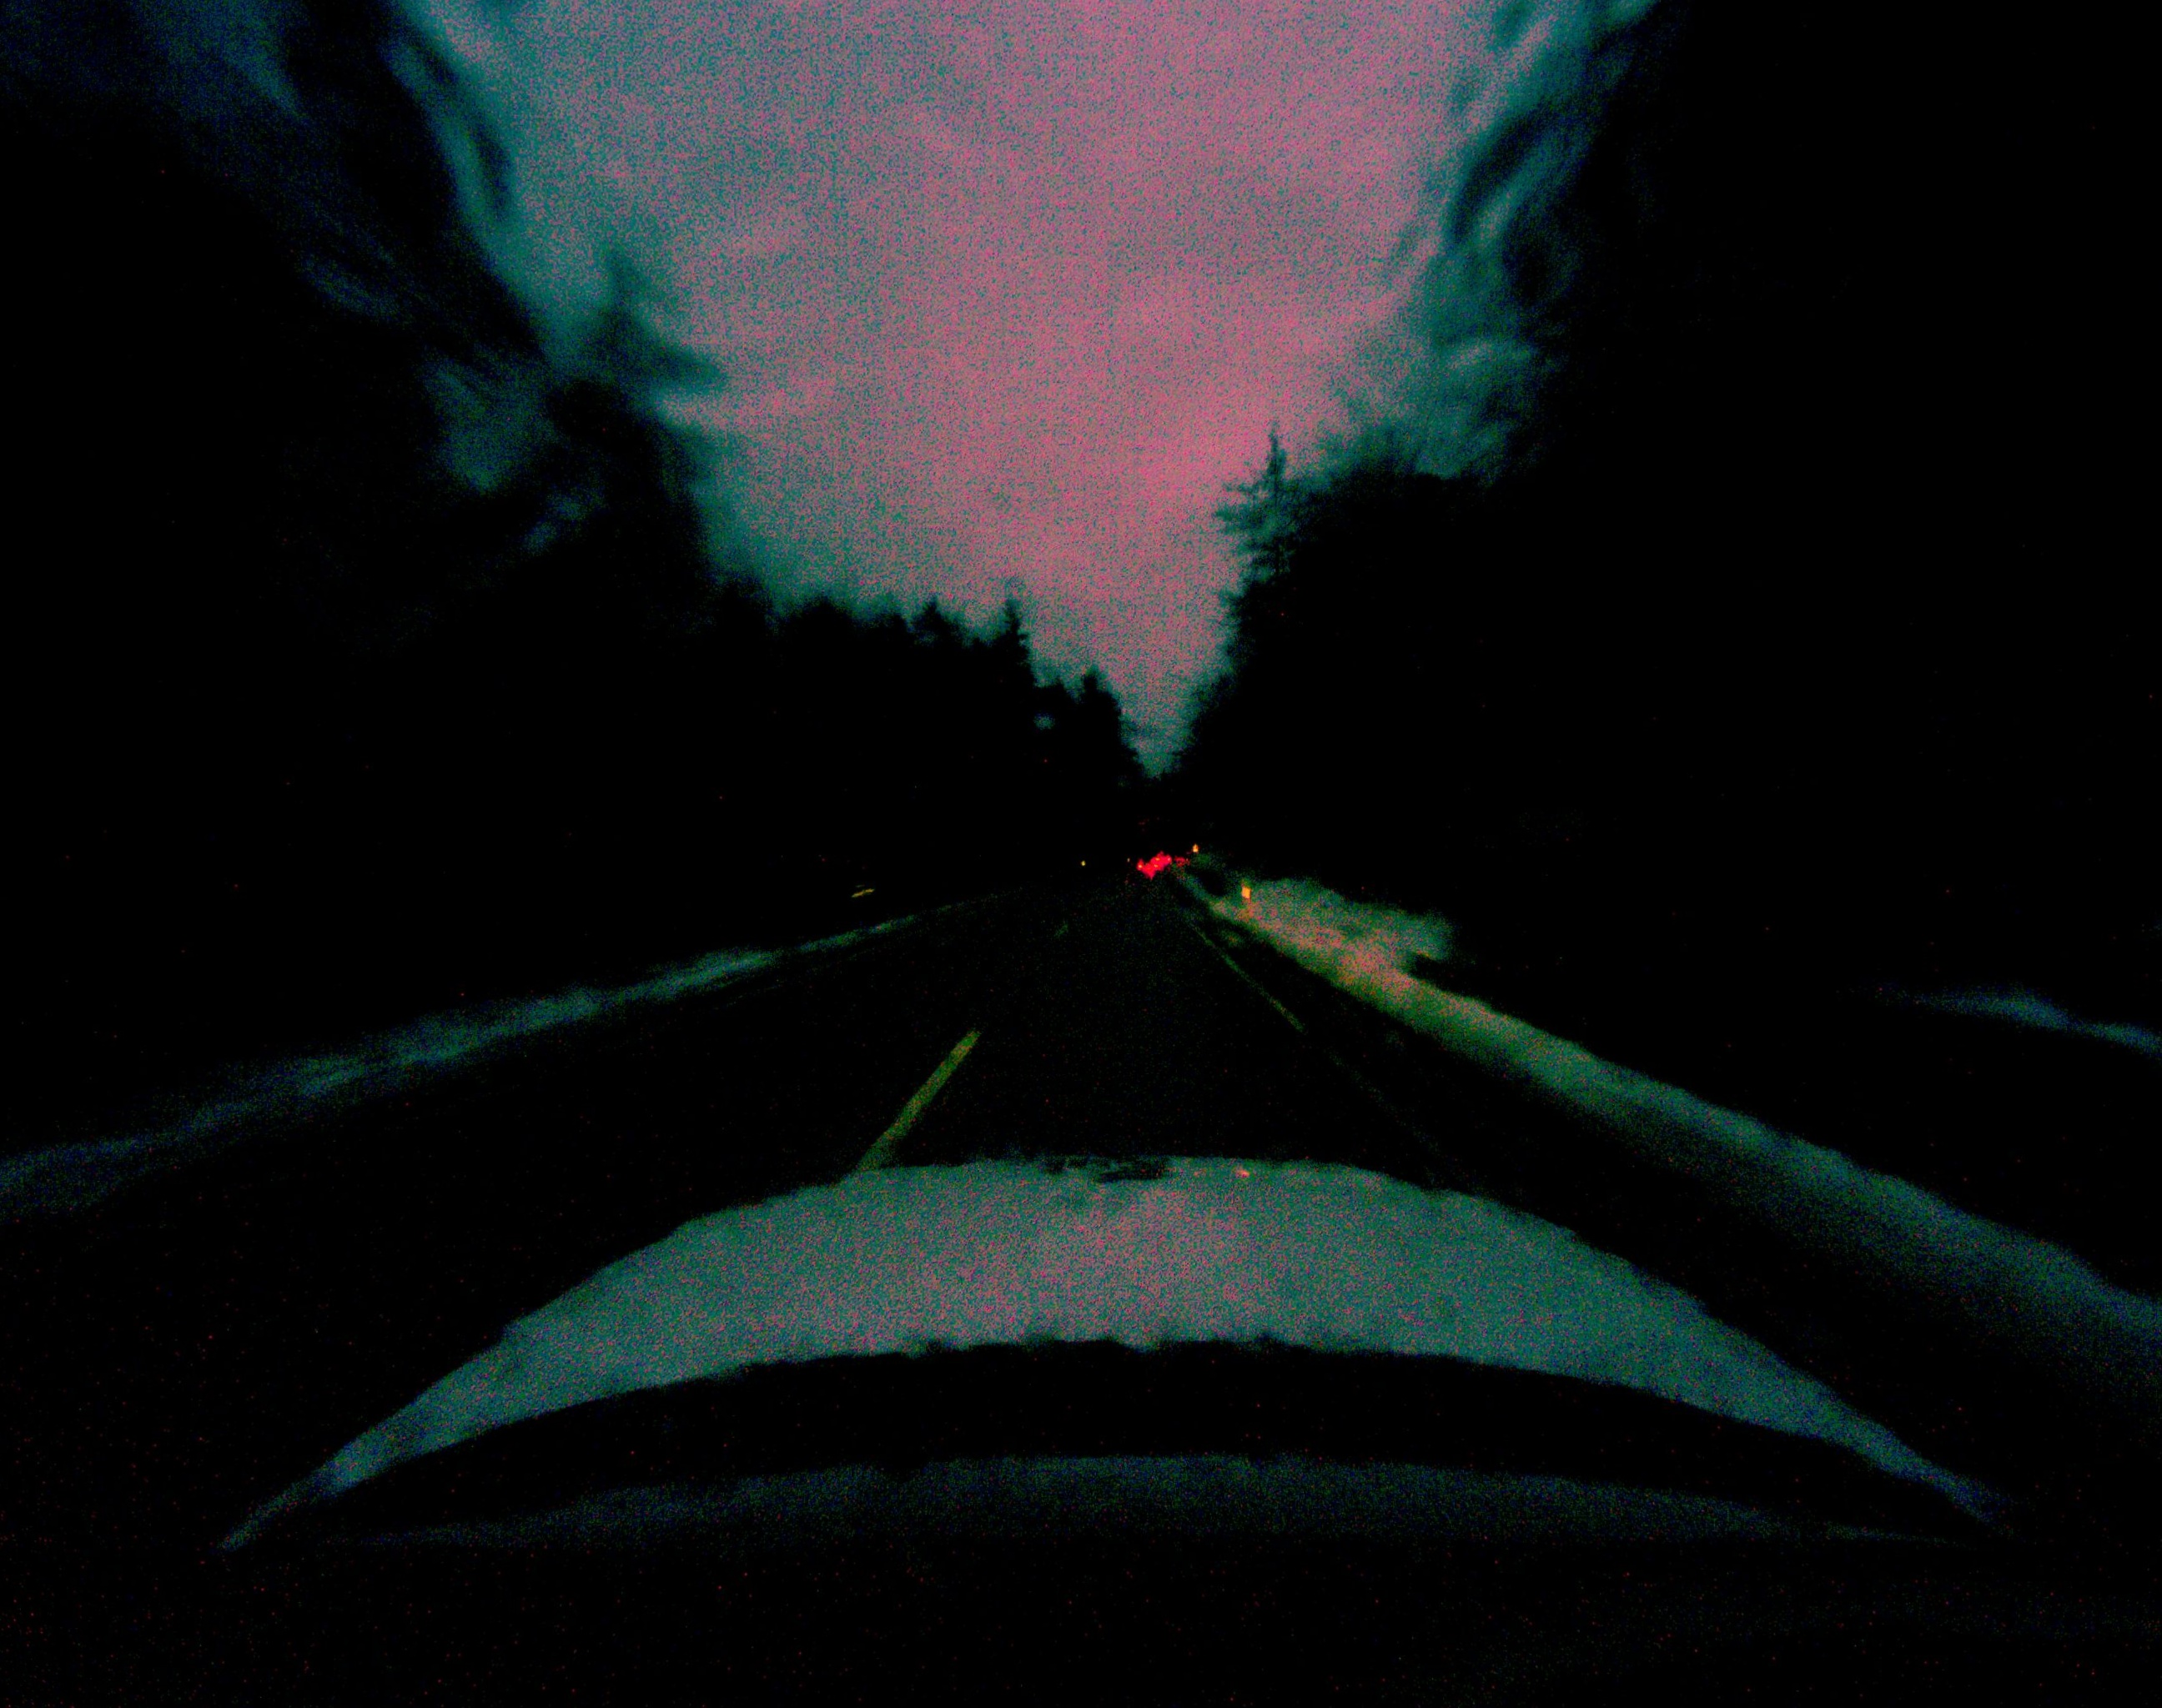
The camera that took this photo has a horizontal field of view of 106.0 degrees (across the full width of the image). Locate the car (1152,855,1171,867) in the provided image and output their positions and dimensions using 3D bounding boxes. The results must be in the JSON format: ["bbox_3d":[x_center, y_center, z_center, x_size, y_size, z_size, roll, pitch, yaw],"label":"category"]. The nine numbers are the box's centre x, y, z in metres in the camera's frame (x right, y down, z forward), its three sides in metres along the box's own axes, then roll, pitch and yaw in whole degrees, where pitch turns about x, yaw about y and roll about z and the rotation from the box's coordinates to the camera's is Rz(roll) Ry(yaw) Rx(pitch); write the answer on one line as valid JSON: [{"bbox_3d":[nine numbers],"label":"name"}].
[{"bbox_3d":[9.972,0.853,101.197,1.986,1.310,4.002,-4,0,2],"label":"car"}]

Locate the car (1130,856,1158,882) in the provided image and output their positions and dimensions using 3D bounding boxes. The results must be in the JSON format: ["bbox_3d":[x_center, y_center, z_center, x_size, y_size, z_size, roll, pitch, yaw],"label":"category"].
[{"bbox_3d":[5.011,1.182,65.274,1.986,1.872,4.001,-4,0,2],"label":"car"}]
